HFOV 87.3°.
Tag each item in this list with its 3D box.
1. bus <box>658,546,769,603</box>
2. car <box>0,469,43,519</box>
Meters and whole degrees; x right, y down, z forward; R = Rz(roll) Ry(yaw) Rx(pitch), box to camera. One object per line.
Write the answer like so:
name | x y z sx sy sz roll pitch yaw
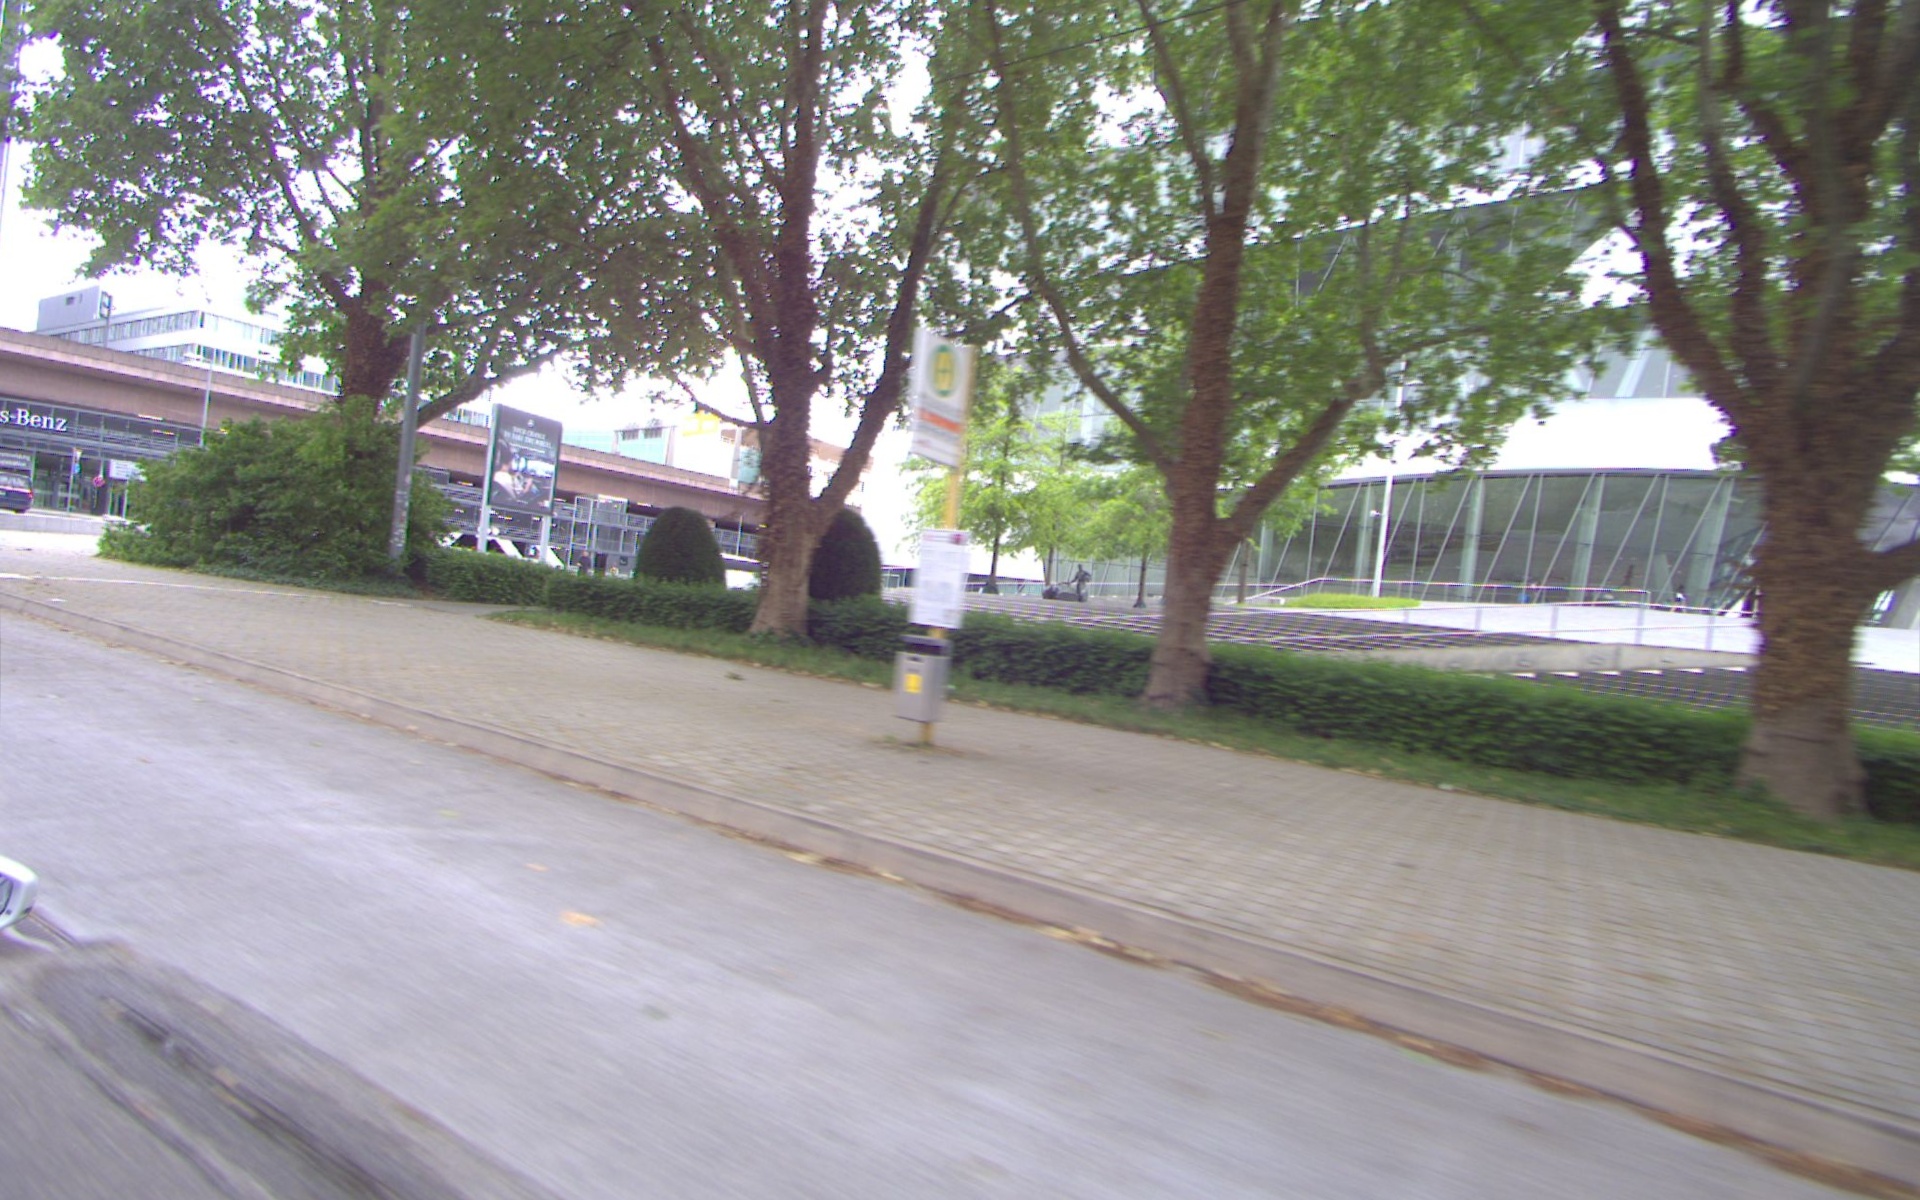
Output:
bus | -23.373 -2.331 96.341 2.714 3.981 11.059 7 -1 34
car | -45.184 -5.082 46.984 4.706 2.038 2.278 6 -1 33
